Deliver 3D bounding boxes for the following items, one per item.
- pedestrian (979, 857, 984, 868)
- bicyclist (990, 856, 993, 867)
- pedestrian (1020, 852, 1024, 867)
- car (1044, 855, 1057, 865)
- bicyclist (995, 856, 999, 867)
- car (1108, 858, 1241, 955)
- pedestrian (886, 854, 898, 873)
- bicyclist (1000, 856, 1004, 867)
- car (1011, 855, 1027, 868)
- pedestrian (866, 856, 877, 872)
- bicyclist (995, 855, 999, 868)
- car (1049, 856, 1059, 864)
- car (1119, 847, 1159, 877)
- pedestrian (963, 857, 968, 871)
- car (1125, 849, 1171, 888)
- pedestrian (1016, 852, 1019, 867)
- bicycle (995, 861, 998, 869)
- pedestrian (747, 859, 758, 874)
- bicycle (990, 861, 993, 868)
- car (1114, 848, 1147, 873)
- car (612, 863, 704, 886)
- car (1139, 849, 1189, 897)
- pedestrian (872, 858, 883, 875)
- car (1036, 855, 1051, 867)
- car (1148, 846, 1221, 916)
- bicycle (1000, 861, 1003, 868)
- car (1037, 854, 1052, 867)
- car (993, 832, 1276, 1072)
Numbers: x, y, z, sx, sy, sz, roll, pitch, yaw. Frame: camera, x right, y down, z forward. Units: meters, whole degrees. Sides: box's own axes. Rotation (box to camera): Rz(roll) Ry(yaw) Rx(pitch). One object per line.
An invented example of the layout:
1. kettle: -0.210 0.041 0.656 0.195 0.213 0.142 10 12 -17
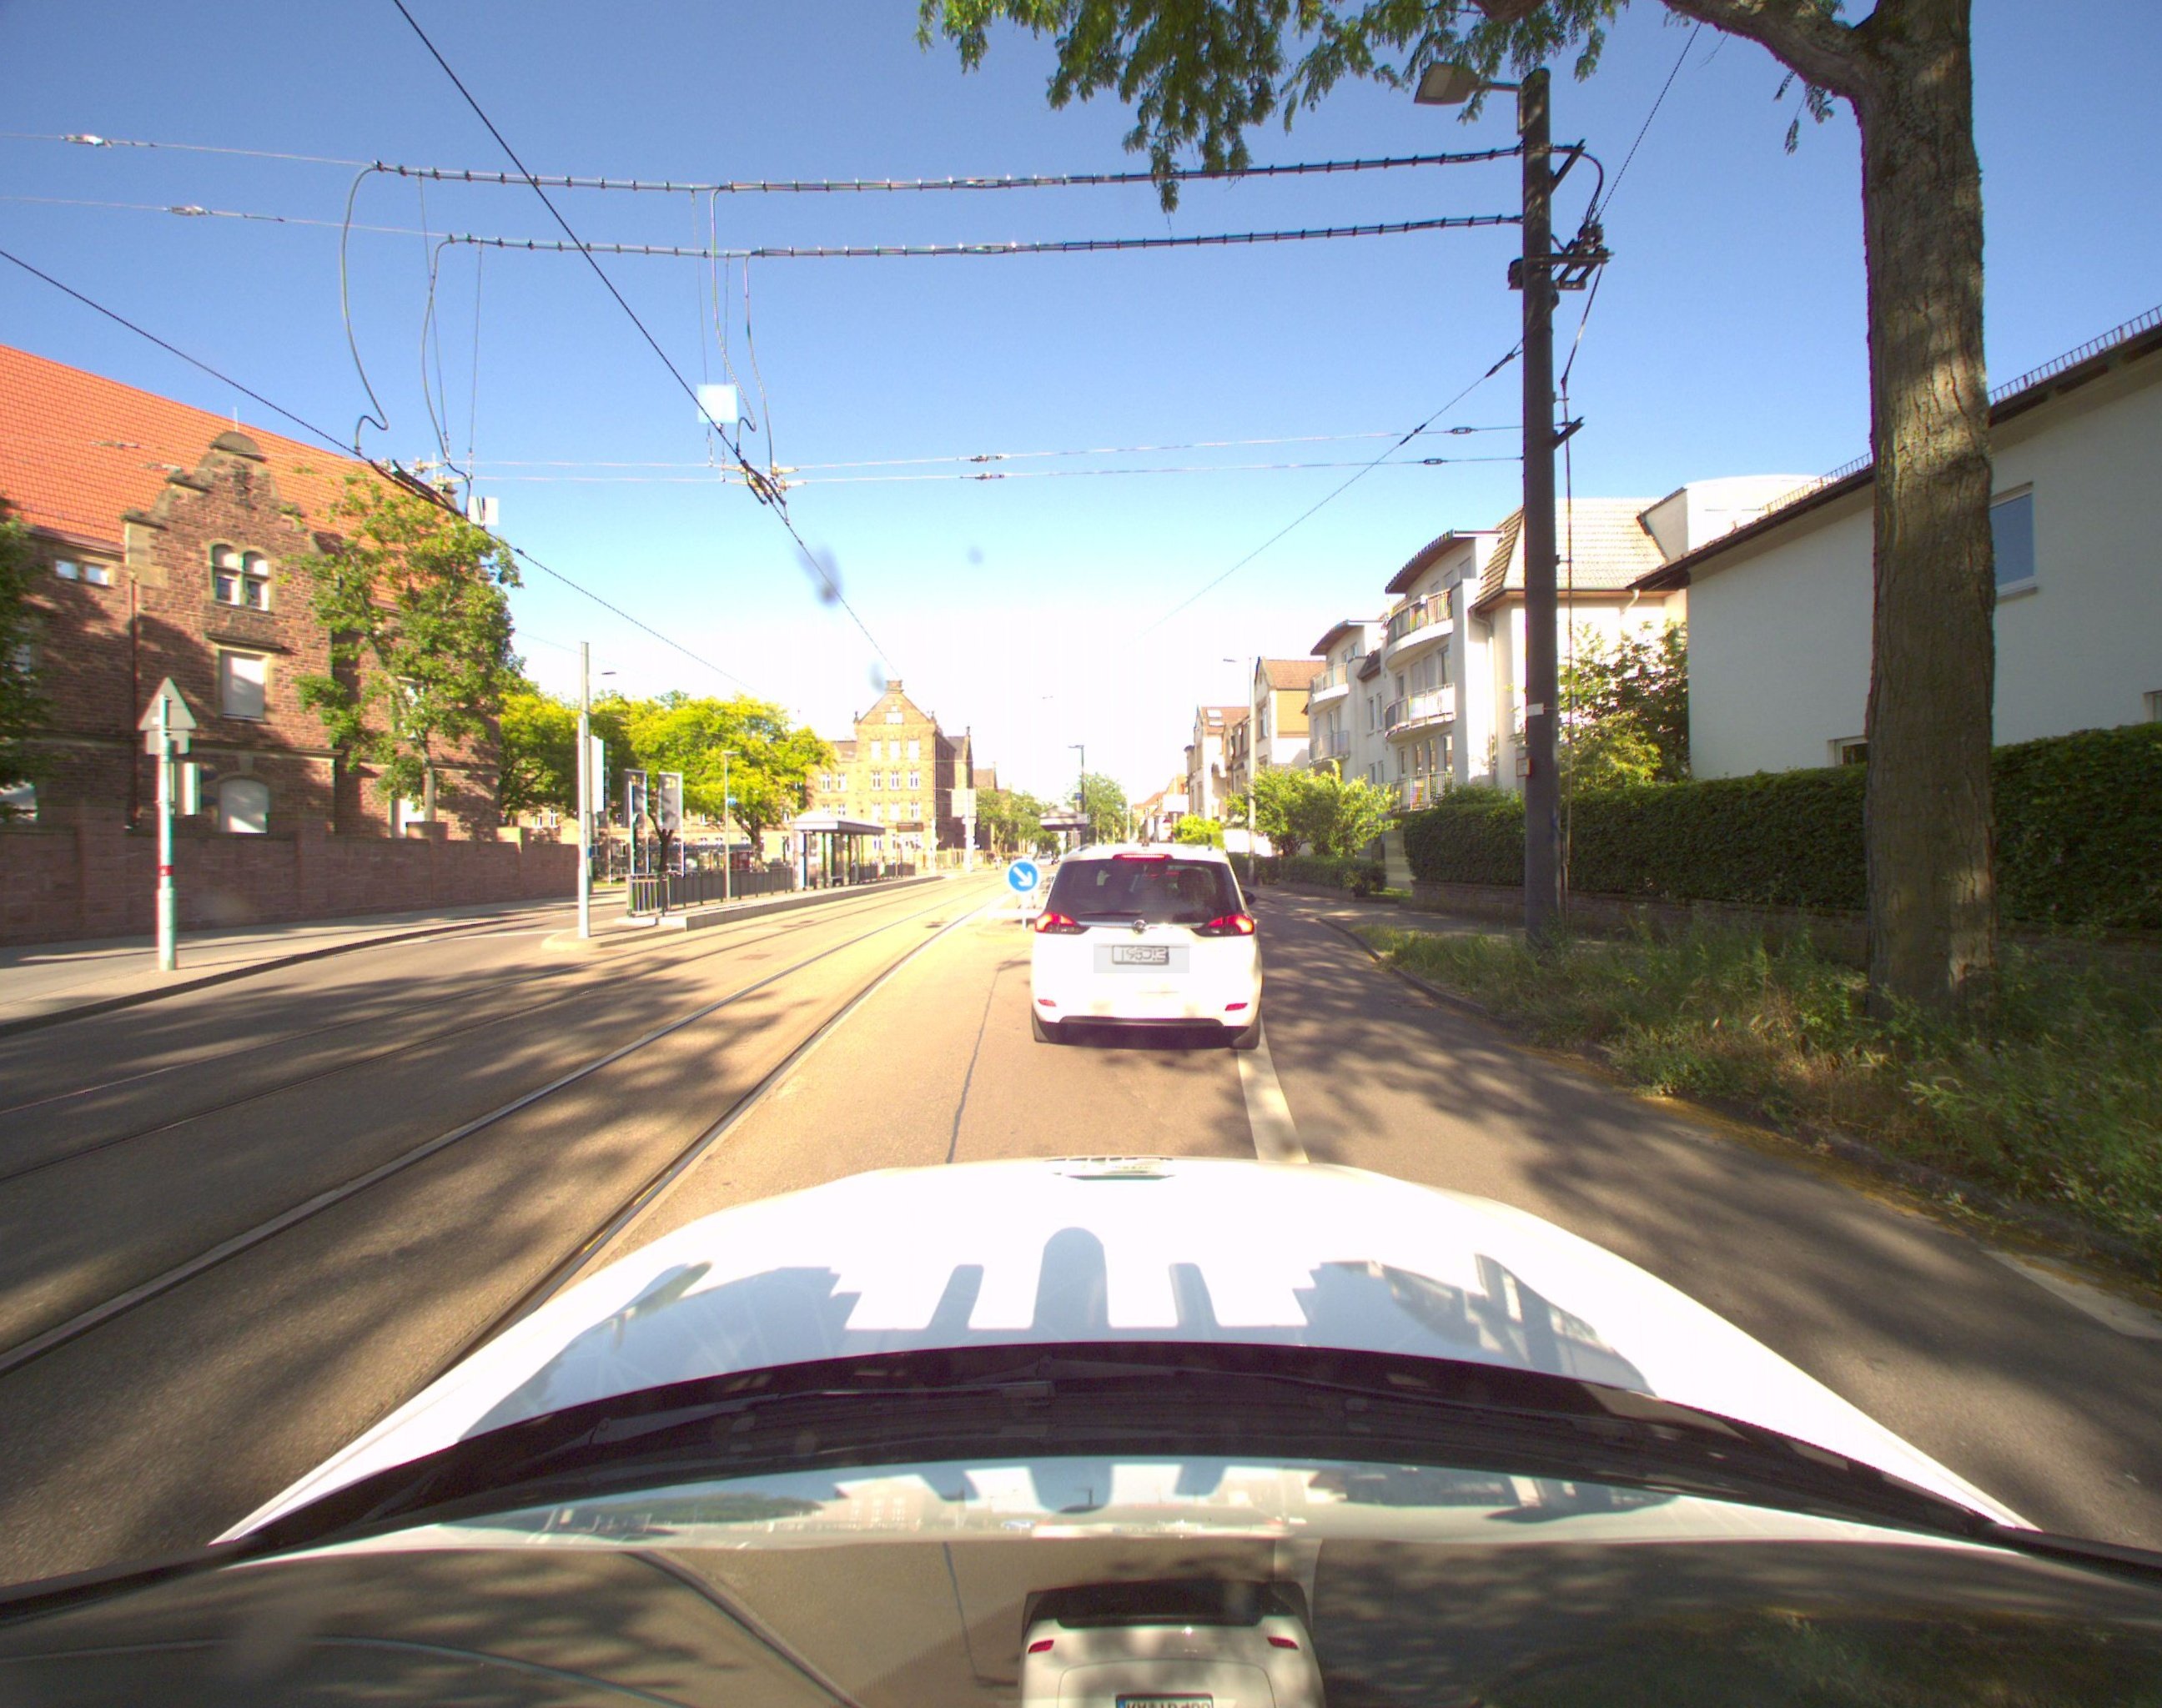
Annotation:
1. pedestrian: -15.405 1.309 126.282 0.733 1.714 0.753 0 -1 -4
2. bicyclist: -12.686 1.066 115.602 0.443 1.553 0.495 -1 0 -2
3. pedestrian: -8.164 0.778 112.647 0.443 2.013 0.495 -1 0 -2
4. car: -5.089 0.918 134.688 1.987 1.629 4.000 -1 0 0
5. bicyclist: -10.981 0.984 107.024 0.443 1.553 0.495 -1 0 -2
6. car: 1.531 0.790 14.065 1.944 1.397 4.005 -1 0 4
7. pedestrian: -17.520 0.884 75.505 0.892 1.684 1.029 0 -1 1
8. bicyclist: -10.664 1.003 109.603 0.443 1.553 0.495 -1 0 -2
9. car: -8.194 0.930 107.480 1.989 1.629 3.996 -1 0 -3
10. pedestrian: -20.585 0.991 79.963 0.799 1.588 0.934 0 -1 -1
11. bicyclist: -10.709 0.954 103.734 0.443 1.553 0.742 -1 0 -2
12. car: -5.499 1.199 168.187 1.989 1.629 3.984 -1 0 -3
13. car: 3.126 0.414 44.376 1.986 1.503 4.002 -1 0 2
14. pedestrian: -14.963 1.276 105.504 0.734 1.714 0.704 0 -1 -7
15. car: 2.929 0.611 36.250 1.824 1.579 4.012 -1 0 2
16. pedestrian: -8.771 0.781 112.379 0.443 2.013 0.495 -1 0 -2
17. bicycle: -10.716 1.421 103.523 0.343 0.950 1.160 0 -1 -1
18. pedestrian: -35.952 1.399 89.194 0.933 1.588 0.801 -1 0 -13
19. bicycle: -12.680 1.534 115.636 0.343 0.950 0.996 0 -1 -1
20. car: 3.100 0.385 51.843 1.986 1.503 4.002 -1 0 2
21. car: -39.327 1.870 75.891 6.926 1.921 2.992 -1 0 0
22. car: 2.943 0.635 29.320 1.630 1.601 3.859 -1 0 4
23. pedestrian: -19.204 1.152 76.897 0.799 1.588 0.934 0 -1 -1
24. car: -5.298 0.958 114.744 1.989 1.629 3.996 -1 0 -3
25. car: 2.573 0.637 20.894 1.630 1.601 3.859 -1 0 4
26. bicycle: -10.663 1.470 109.608 0.343 0.950 0.996 0 -1 -1
27. car: -4.817 0.897 107.622 1.989 1.629 3.996 -1 0 -3
28. car: 0.643 0.683 7.704 1.982 1.644 4.003 0 0 8
